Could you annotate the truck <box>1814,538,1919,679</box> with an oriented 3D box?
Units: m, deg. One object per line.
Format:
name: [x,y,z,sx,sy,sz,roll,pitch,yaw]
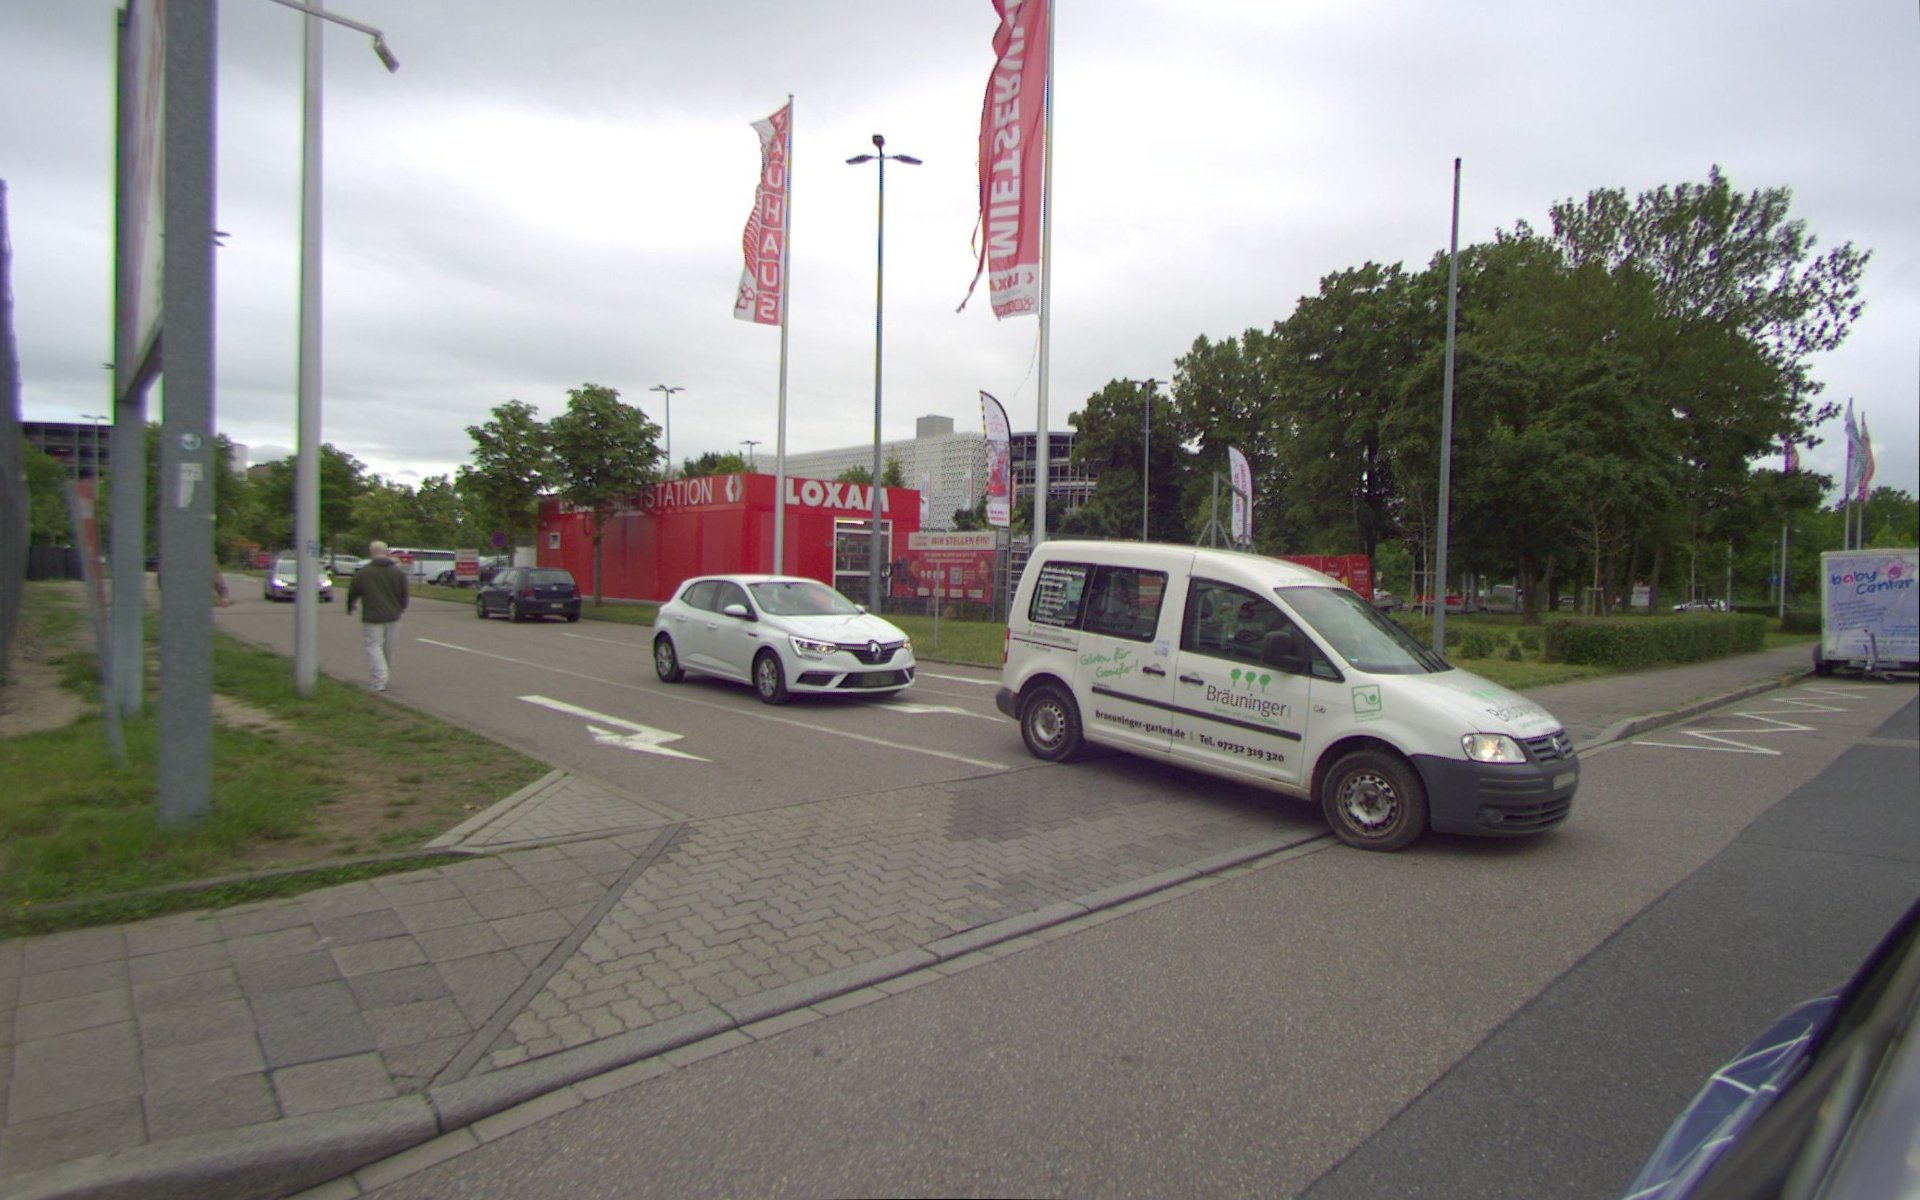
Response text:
truck: [19.067,0.166,20.770,3.933,2.646,1.850,0,-2,-43]

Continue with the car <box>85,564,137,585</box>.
car: [-74.998,-2.232,89.457,3.461,1.793,1.800,-1,0,-41]

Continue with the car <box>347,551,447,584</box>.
car: [-31.195,-1.759,56.153,1.929,1.729,4.474,0,0,42]

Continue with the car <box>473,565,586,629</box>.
car: [-11.429,-0.125,26.765,1.693,1.480,3.566,0,3,-42]

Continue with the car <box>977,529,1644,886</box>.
car: [2.312,0.471,7.643,1.770,1.829,4.376,0,4,-43]

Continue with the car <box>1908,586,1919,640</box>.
car: [34.819,0.477,35.411,3.930,1.838,1.997,0,1,-41]

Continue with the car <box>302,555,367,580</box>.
car: [-40.741,-2.086,65.936,3.425,1.544,1.638,-1,0,-41]

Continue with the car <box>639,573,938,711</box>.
car: [-2.275,0.398,12.661,1.702,1.438,4.106,0,1,-43]

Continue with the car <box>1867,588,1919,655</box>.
car: [26.619,0.579,27.820,3.930,1.749,1.997,0,2,-41]

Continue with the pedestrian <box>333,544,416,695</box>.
pedestrian: [-7.139,0.214,12.341,0.727,1.765,0.869,1,1,-39]

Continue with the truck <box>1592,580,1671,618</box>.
truck: [45.294,-0.084,68.310,3.922,2.426,2.001,1,1,-2]

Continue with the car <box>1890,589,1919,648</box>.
car: [30.576,0.578,31.440,3.930,1.771,1.997,0,2,-41]

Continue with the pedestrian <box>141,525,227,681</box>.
pedestrian: [-8.737,0.019,11.384,0.686,1.669,0.825,1,1,-43]

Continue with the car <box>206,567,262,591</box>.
car: [-62.128,-1.765,86.623,3.728,2.039,1.928,-1,0,-41]

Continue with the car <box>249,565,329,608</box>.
car: [-23.860,-0.508,35.928,1.702,1.438,4.106,0,1,-43]
